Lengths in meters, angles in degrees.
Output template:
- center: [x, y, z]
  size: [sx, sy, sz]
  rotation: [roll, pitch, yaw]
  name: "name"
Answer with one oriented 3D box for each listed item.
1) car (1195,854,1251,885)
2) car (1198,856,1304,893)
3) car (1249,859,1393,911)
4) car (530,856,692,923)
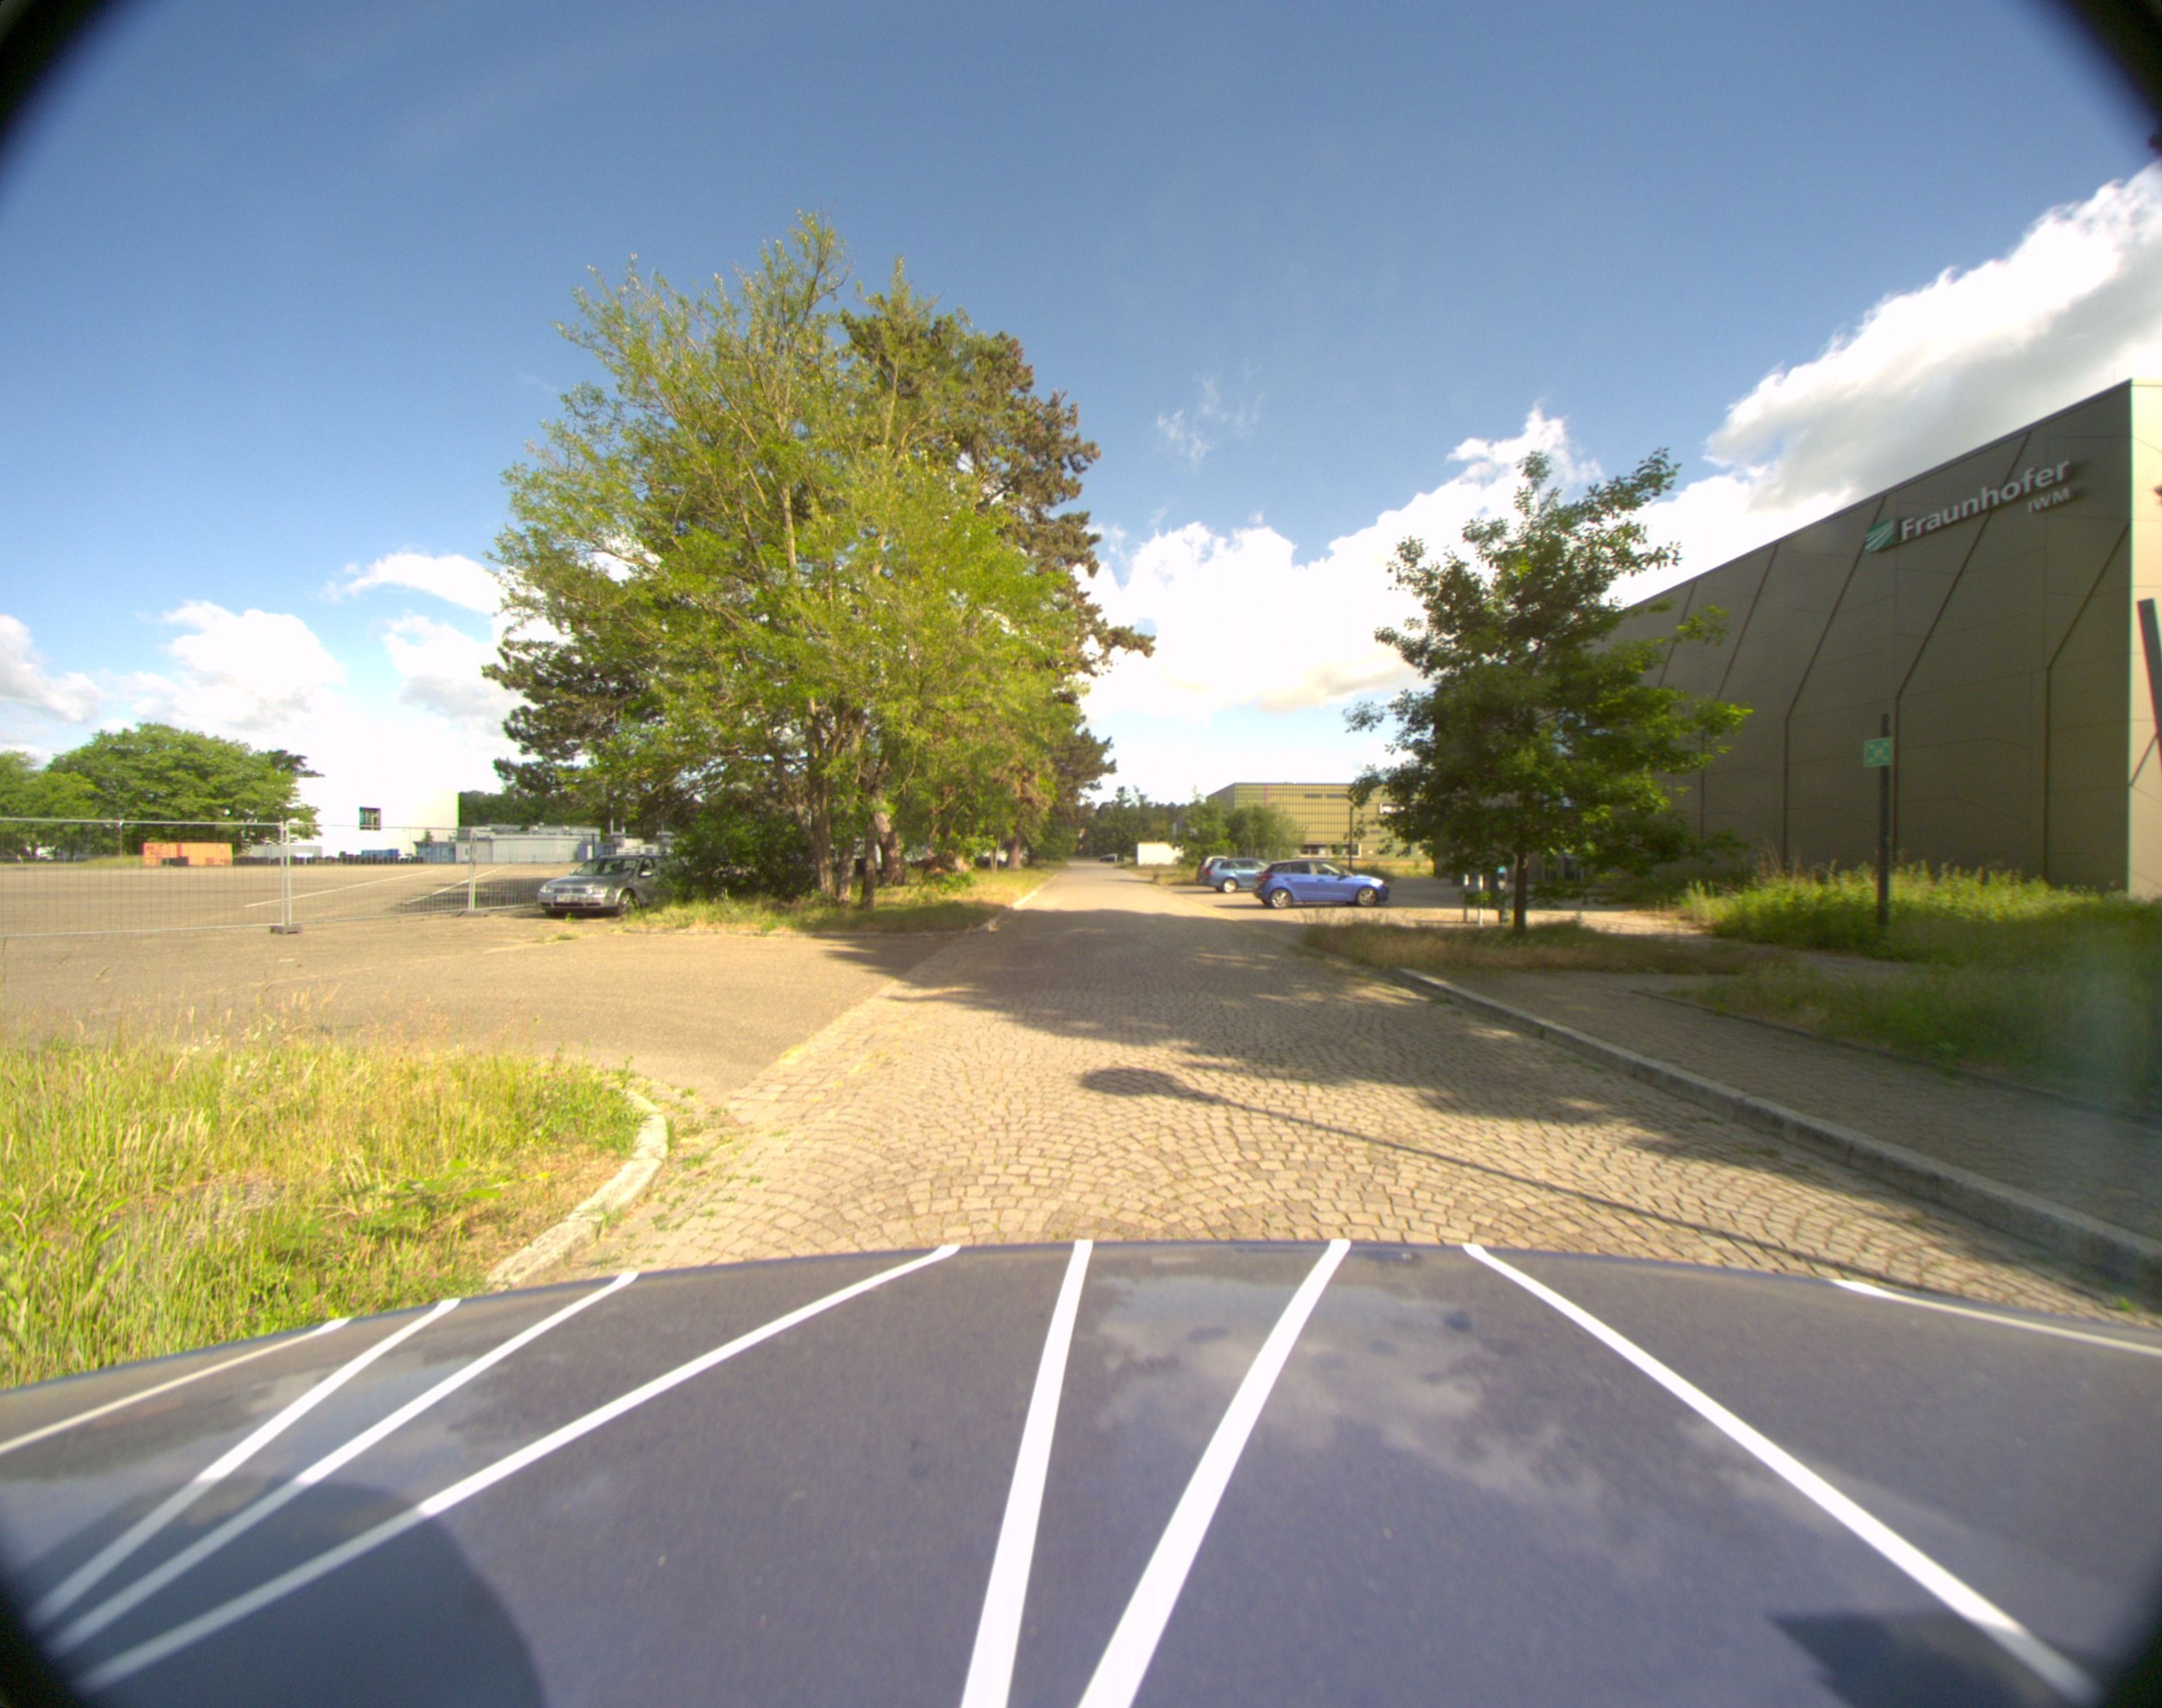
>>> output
- center: [7.517, 0.822, 40.348]
  size: [2.652, 1.559, 1.481]
  rotation: [-1, 1, -1]
  name: "car"
- center: [7.311, 0.876, 33.010]
  size: [4.180, 1.465, 1.734]
  rotation: [-1, 0, -2]
  name: "car"
- center: [7.332, 0.937, 23.505]
  size: [3.918, 1.459, 1.735]
  rotation: [-1, 0, 3]
  name: "car"
- center: [-11.184, 0.773, 18.428]
  size: [1.579, 1.435, 3.985]
  rotation: [0, 0, -3]
  name: "car"
